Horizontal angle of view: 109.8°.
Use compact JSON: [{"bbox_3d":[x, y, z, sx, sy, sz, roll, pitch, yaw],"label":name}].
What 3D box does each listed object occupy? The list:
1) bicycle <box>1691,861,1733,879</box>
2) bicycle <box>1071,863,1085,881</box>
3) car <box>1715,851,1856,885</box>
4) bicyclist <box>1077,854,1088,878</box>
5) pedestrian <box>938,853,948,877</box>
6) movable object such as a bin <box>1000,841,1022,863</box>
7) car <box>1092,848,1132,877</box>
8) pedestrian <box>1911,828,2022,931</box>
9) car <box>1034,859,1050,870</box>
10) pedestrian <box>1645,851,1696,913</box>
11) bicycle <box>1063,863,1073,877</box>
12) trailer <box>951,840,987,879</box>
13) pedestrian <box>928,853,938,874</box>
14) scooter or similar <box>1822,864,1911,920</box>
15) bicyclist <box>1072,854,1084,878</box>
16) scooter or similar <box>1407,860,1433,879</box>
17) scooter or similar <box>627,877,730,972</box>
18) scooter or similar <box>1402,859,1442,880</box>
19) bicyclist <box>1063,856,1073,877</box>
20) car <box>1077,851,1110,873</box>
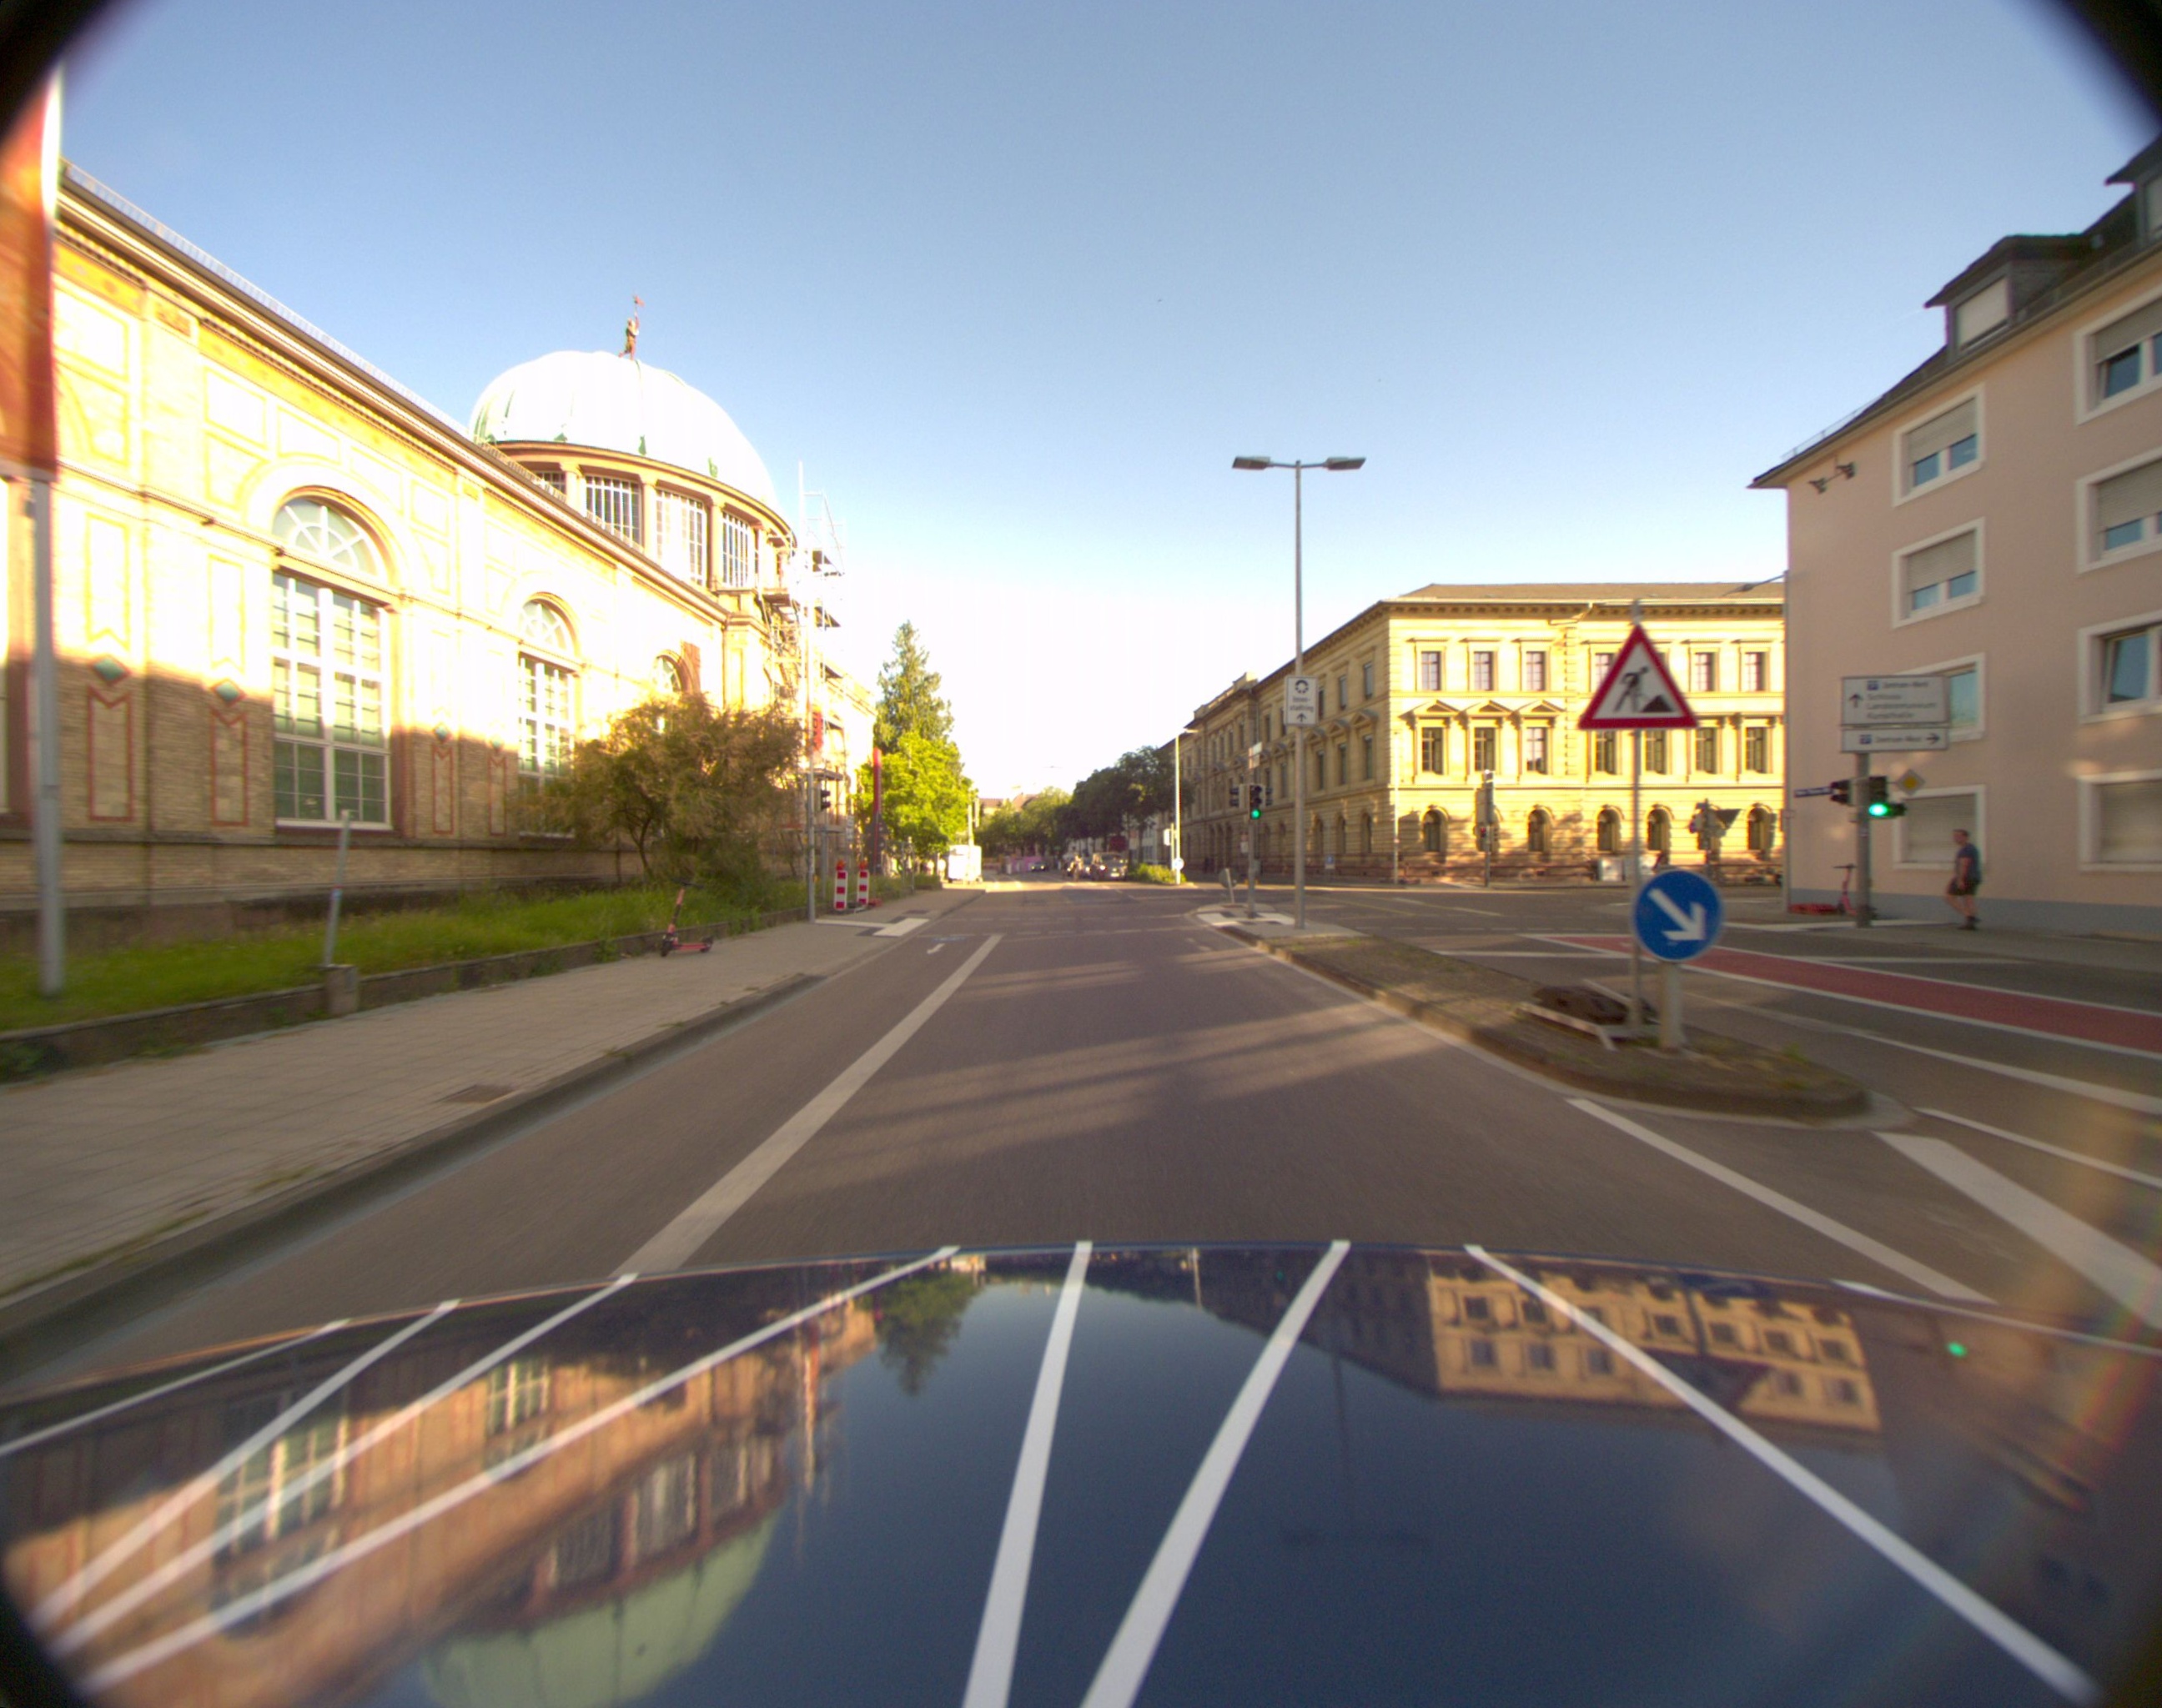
[{"bbox_3d":[34.532,0.884,41.580,1.829,0.961,0.575,-1,1,1],"label":"bicycle"},{"bbox_3d":[-0.218,1.180,50.859,0.831,1.136,1.969,-1,0,-3],"label":"bicycle"},{"bbox_3d":[32.873,0.641,35.560,4.684,1.563,2.000,0,0,1],"label":"car"},{"bbox_3d":[0.121,0.773,49.345,0.672,1.599,0.825,0,1,-3],"label":"bicyclist"},{"bbox_3d":[-10.989,0.884,60.591,0.717,1.883,0.889,0,0,-8],"label":"pedestrian"},{"bbox_3d":[-10.943,-0.251,117.835,3.172,3.281,4.382,0,0,-9],"label":"movable object such as a bin"},{"bbox_3d":[2.065,0.513,52.309,2.074,1.904,5.030,0,1,-6],"label":"car"},{"bbox_3d":[16.901,0.476,14.533,0.869,1.852,1.015,-3,0,4],"label":"pedestrian"},{"bbox_3d":[-5.061,1.341,98.099,1.552,1.288,3.639,2,0,5],"label":"car"},{"bbox_3d":[15.535,0.727,20.045,0.633,1.574,0.818,-3,0,2],"label":"pedestrian"},{"bbox_3d":[-1.039,1.293,60.441,0.671,1.066,1.752,-1,0,-4],"label":"bicycle"},{"bbox_3d":[-7.509,0.377,51.327,2.085,2.513,4.490,1,0,-4],"label":"trailer"},{"bbox_3d":[-11.709,0.752,60.218,0.684,1.691,0.693,0,0,-6],"label":"pedestrian"},{"bbox_3d":[17.683,0.831,17.151,0.534,1.178,1.474,-2,0,4],"label":"scooter or similar"},{"bbox_3d":[-0.208,0.778,50.932,0.805,1.599,0.825,0,1,-3],"label":"bicyclist"},{"bbox_3d":[19.428,0.878,43.534,1.330,1.046,0.393,0,0,-1],"label":"scooter or similar"},{"bbox_3d":[-6.149,1.027,11.725,0.556,1.301,1.832,0,0,2],"label":"scooter or similar"},{"bbox_3d":[19.133,0.870,42.681,2.029,1.181,0.457,0,0,24],"label":"scooter or similar"},{"bbox_3d":[-1.060,0.981,60.503,0.674,1.643,0.887,-1,1,-5],"label":"bicyclist"},{"bbox_3d":[0.991,0.670,62.440,1.997,1.739,4.744,0,0,-8],"label":"car"}]
